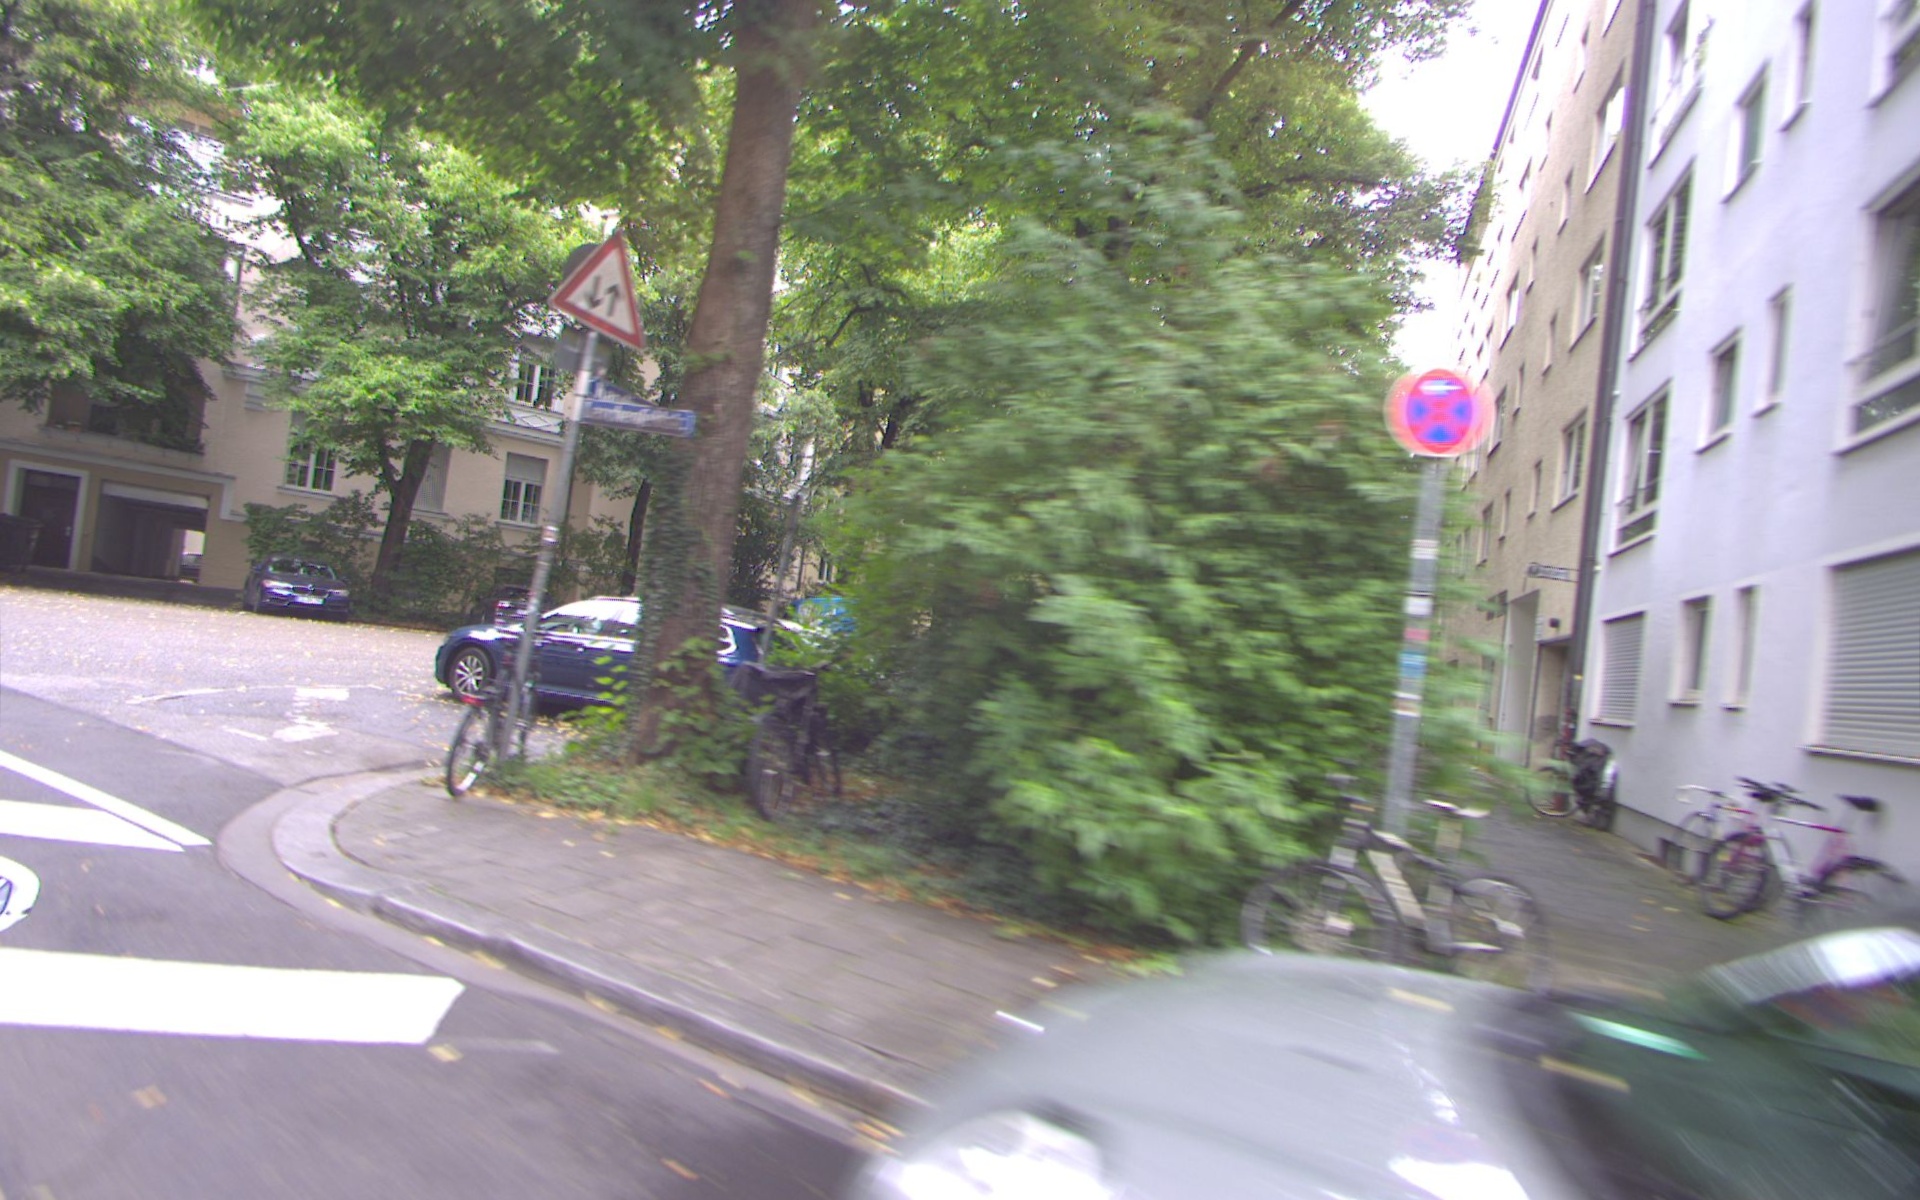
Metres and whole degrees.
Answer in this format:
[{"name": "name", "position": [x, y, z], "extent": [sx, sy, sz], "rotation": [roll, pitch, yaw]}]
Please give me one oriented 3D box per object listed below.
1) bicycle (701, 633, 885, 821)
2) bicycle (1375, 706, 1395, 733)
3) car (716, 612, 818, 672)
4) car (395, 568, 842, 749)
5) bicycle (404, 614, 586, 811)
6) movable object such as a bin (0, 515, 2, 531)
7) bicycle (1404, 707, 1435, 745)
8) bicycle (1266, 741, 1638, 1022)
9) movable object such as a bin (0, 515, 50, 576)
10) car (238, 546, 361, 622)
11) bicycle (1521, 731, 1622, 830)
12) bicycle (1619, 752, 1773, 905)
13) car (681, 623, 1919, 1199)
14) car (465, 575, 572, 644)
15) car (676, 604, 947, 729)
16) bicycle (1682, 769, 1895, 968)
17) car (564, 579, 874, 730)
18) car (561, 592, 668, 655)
[{"name": "bicycle", "position": [-1.092, 0.835, 6.986], "extent": [0.594, 1.067, 1.637], "rotation": [7, -2, 12]}, {"name": "bicycle", "position": [18.559, 5.193, 43.905], "extent": [0.538, 1.034, 2.071], "rotation": [7, -3, 19]}, {"name": "car", "position": [-5.815, 1.226, 30.080], "extent": [1.629, 1.448, 3.525], "rotation": [9, -4, -33]}, {"name": "car", "position": [-4.006, 0.661, 11.973], "extent": [4.644, 1.393, 1.962], "rotation": [7, -2, 17]}, {"name": "bicycle", "position": [-3.173, 0.715, 7.040], "extent": [0.545, 1.150, 1.772], "rotation": [7, -2, -8]}, {"name": "movable object such as a bin", "position": [-23.696, -1.435, 24.141], "extent": [0.709, 1.363, 1.360], "rotation": [8, -2, -36]}, {"name": "bicycle", "position": [14.001, 3.814, 30.708], "extent": [0.538, 1.034, 2.071], "rotation": [7, -3, 19]}, {"name": "bicycle", "position": [2.240, 1.272, 4.540], "extent": [1.613, 1.068, 0.449], "rotation": [9, -2, -22]}, {"name": "movable object such as a bin", "position": [-22.824, -1.326, 24.387], "extent": [0.859, 1.319, 1.418], "rotation": [11, -3, -37]}, {"name": "car", "position": [-15.411, -0.393, 23.383], "extent": [1.832, 1.398, 4.297], "rotation": [9, -4, -39]}, {"name": "bicycle", "position": [7.788, 2.267, 12.883], "extent": [0.641, 1.034, 1.704], "rotation": [7, -3, 19]}, {"name": "bicycle", "position": [6.378, 1.931, 8.810], "extent": [0.529, 1.034, 1.704], "rotation": [7, -3, 20]}, {"name": "car", "position": [1.764, 1.020, 1.173], "extent": [3.930, 1.458, 1.748], "rotation": [6, -2, 27]}, {"name": "car", "position": [-11.530, 0.266, 26.118], "extent": [1.845, 1.440, 4.133], "rotation": [8, -5, -32]}, {"name": "car", "position": [-2.403, 1.076, 16.585], "extent": [3.874, 1.464, 1.829], "rotation": [7, -2, 17]}, {"name": "bicycle", "position": [5.798, 1.819, 7.152], "extent": [0.529, 1.034, 1.704], "rotation": [7, -3, 20]}, {"name": "car", "position": [-3.458, 0.771, 14.521], "extent": [3.911, 1.573, 1.758], "rotation": [7, -2, 21]}, {"name": "car", "position": [-9.669, 0.683, 27.989], "extent": [1.816, 1.440, 3.722], "rotation": [8, -6, -34]}]
